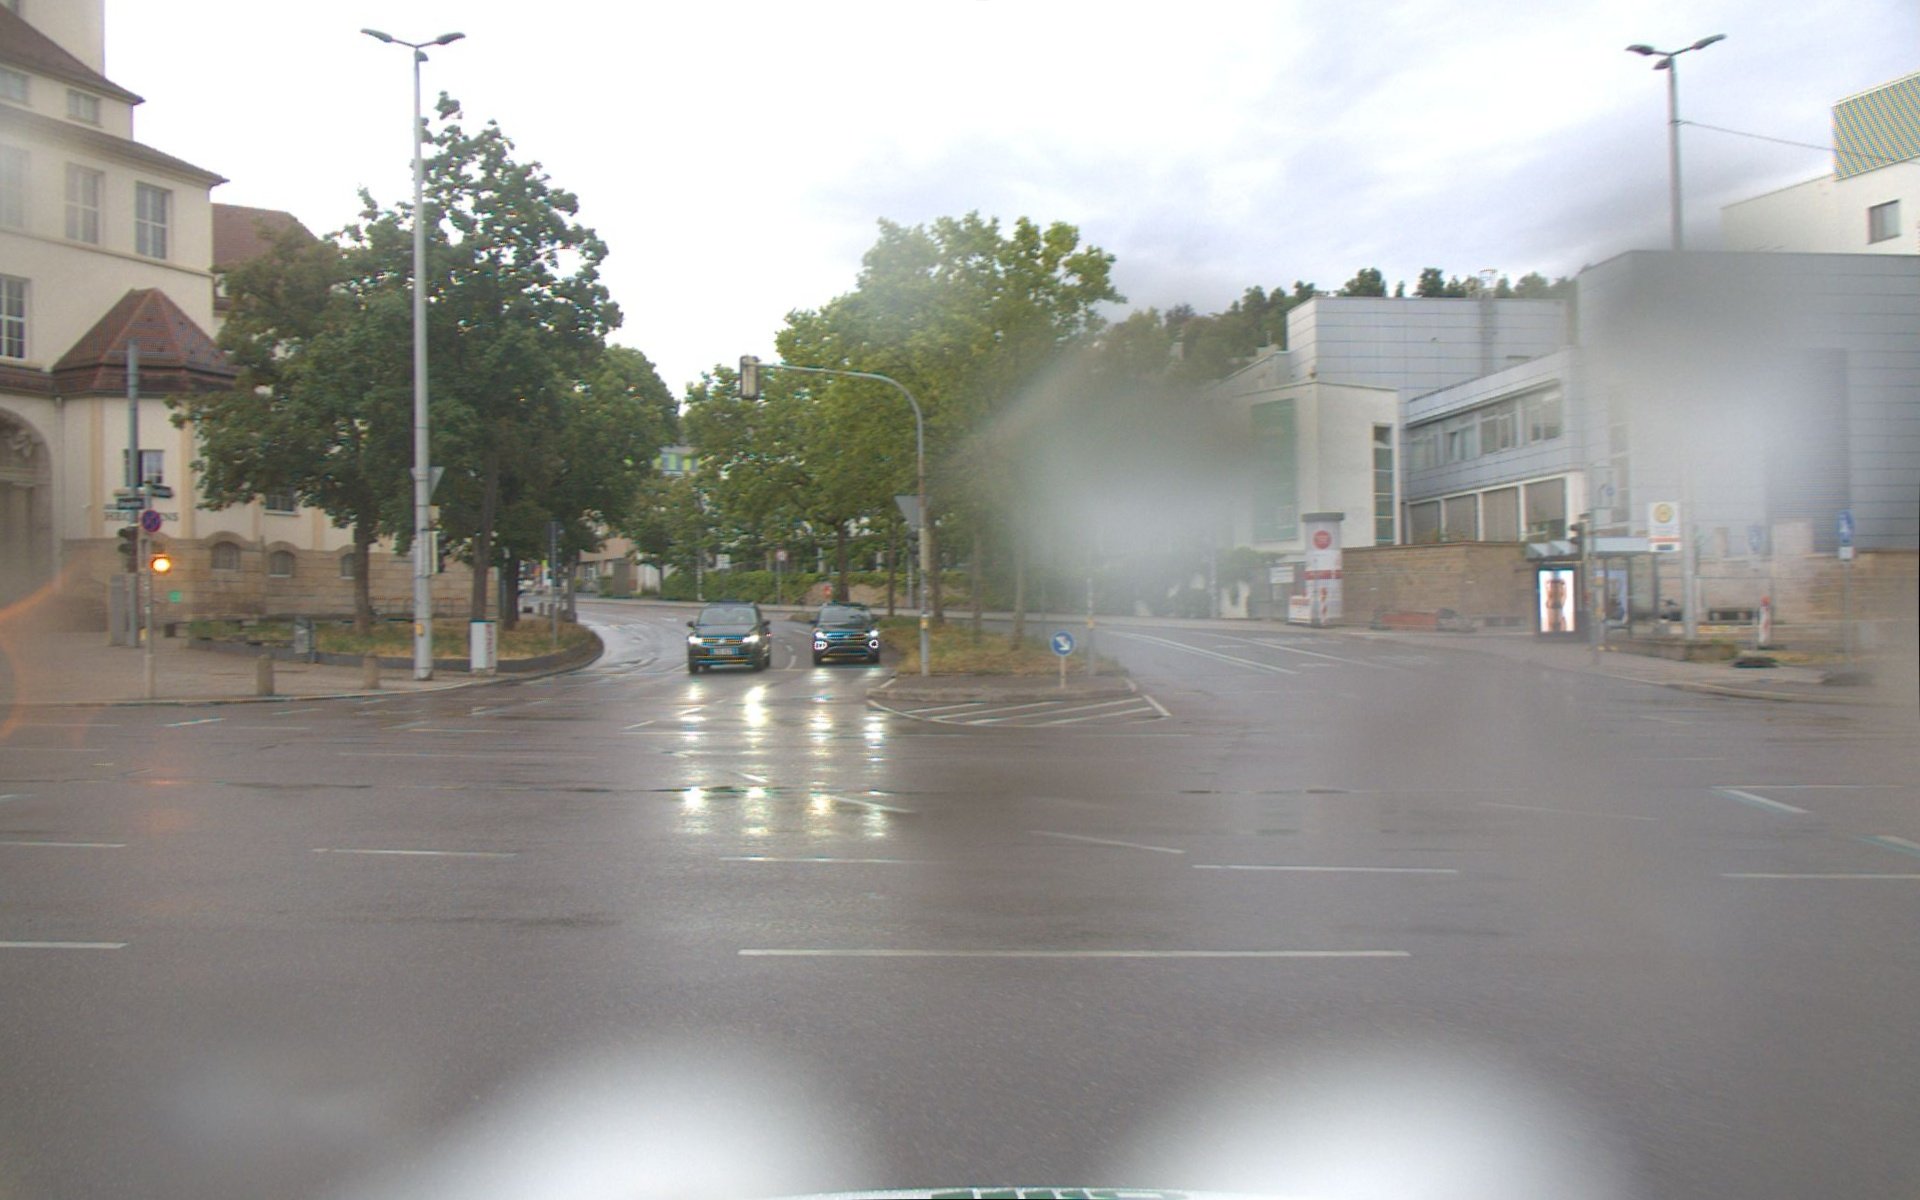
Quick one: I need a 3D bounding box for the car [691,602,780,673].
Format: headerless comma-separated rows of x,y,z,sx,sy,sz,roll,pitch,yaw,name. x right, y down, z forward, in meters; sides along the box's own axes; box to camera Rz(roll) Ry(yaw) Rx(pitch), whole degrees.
-5.540,0.881,41.195,1.831,1.592,4.273,-1,0,-3,car

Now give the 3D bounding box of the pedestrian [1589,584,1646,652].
17.291,0.489,43.542,1.230,1.749,1.017,1,-2,12,pedestrian

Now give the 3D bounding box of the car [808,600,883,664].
-3.138,0.825,44.671,1.755,1.612,3.993,-1,0,-8,car
